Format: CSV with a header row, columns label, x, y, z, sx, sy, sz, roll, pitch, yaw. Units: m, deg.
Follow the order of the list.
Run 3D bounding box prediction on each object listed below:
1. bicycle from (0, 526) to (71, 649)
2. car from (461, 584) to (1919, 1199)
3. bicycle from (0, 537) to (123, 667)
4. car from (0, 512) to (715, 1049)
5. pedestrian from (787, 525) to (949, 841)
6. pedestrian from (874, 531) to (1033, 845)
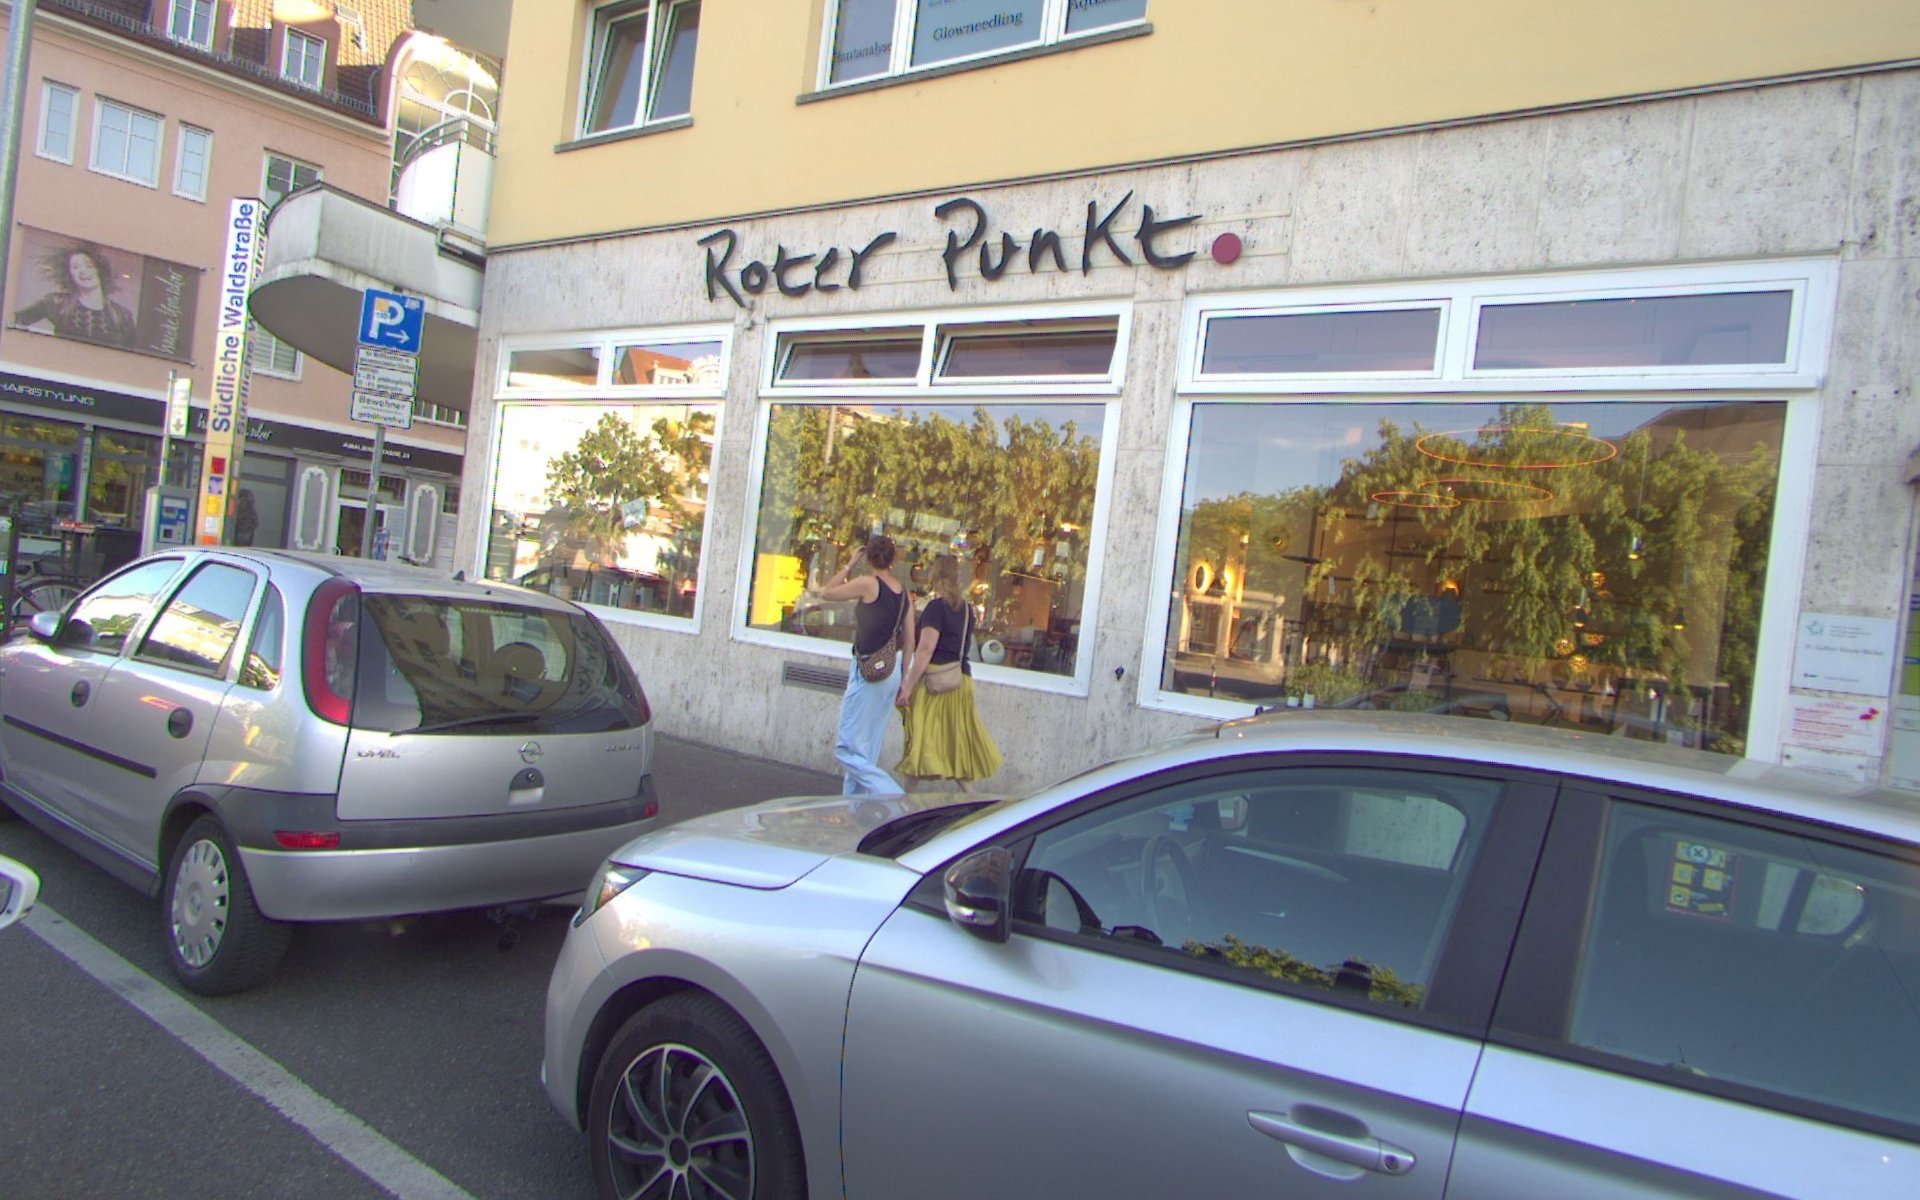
label,x,y,z,sx,sy,sz,roll,pitch,yaw
bicycle,-9.098,-0.155,8.813,0.408,1.101,1.872,6,1,35
car,0.763,0.915,2.266,3.598,1.444,1.550,6,-1,30
bicycle,-8.101,-0.006,8.211,0.348,1.051,1.871,6,1,38
car,-2.929,0.485,4.424,3.420,1.407,1.548,6,-1,33
pedestrian,-0.545,0.464,5.804,0.649,1.685,0.645,6,0,-18
pedestrian,-0.023,0.536,6.356,0.557,1.805,0.743,7,0,22
